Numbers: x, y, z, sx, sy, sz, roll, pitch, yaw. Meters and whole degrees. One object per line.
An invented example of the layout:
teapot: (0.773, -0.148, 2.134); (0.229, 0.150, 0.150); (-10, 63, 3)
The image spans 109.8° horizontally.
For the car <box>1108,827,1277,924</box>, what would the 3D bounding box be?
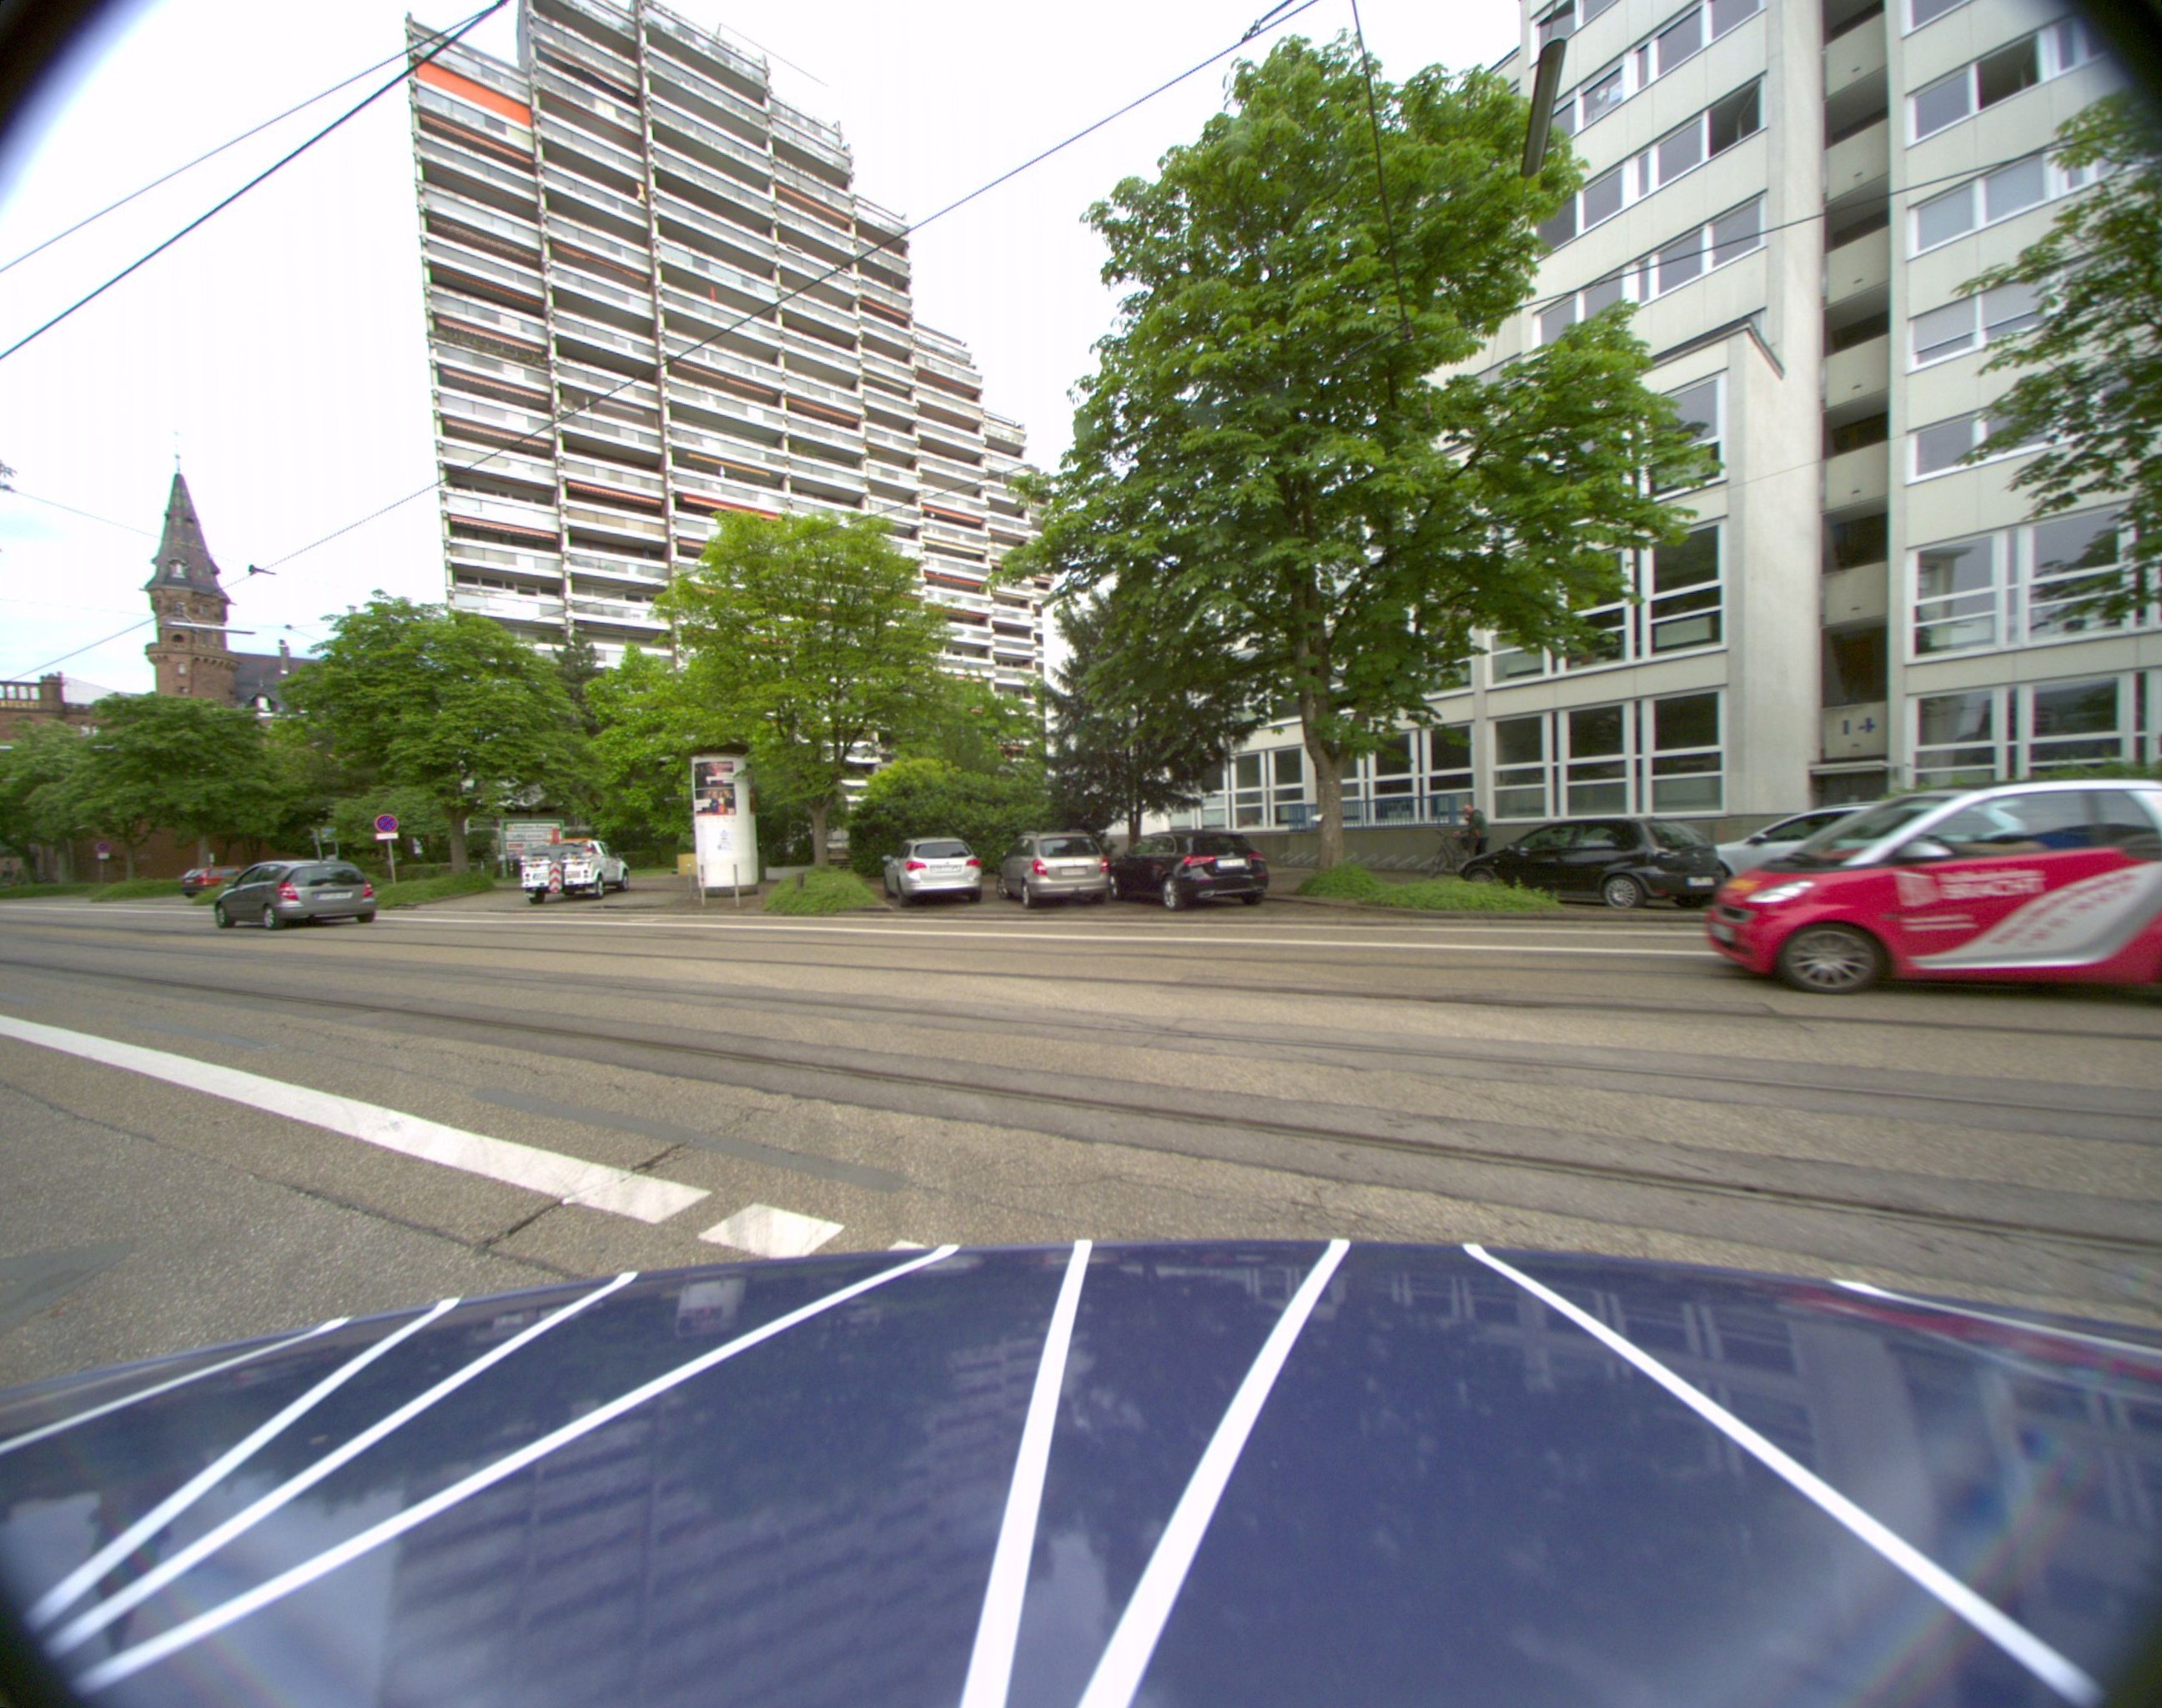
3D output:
car: (1.978, 0.280, 14.525); (1.701, 1.516, 3.699); (-4, 3, -17)

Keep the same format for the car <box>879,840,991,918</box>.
car: (-3.563, 0.459, 17.859); (1.805, 1.457, 4.423); (-3, 3, -21)

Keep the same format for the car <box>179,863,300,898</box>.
car: (-40.819, 1.259, 36.964); (1.632, 1.369, 3.505); (-1, 3, 13)

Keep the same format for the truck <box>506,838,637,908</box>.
truck: (-15.903, 0.490, 24.084); (2.001, 1.838, 5.055); (-3, 3, -18)

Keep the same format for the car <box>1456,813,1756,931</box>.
car: (8.133, 0.171, 12.198); (1.701, 1.516, 3.699); (-4, 3, -17)

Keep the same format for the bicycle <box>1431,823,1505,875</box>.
bicycle: (9.671, -0.109, 19.001); (1.591, 1.261, 0.406); (-1, 2, 36)

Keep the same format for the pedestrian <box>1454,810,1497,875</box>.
pedestrian: (10.078, -0.310, 19.400); (0.735, 1.603, 0.753); (-6, 6, -42)

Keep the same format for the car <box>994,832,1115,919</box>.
car: (-0.682, 0.338, 16.054); (1.574, 1.516, 3.644); (-4, 3, -17)

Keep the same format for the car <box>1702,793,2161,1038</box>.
car: (6.608, 0.369, 5.664); (2.774, 1.513, 1.685); (-1, 1, 27)

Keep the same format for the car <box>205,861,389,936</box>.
car: (-18.618, 1.007, 18.051); (3.744, 1.521, 1.909); (-1, 2, 26)

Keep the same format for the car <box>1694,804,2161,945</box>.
car: (11.096, 0.136, 10.437); (1.700, 1.476, 4.023); (-3, 3, -11)

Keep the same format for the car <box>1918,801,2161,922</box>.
car: (13.695, 0.062, 9.506); (1.700, 1.398, 4.023); (-3, 3, -11)
